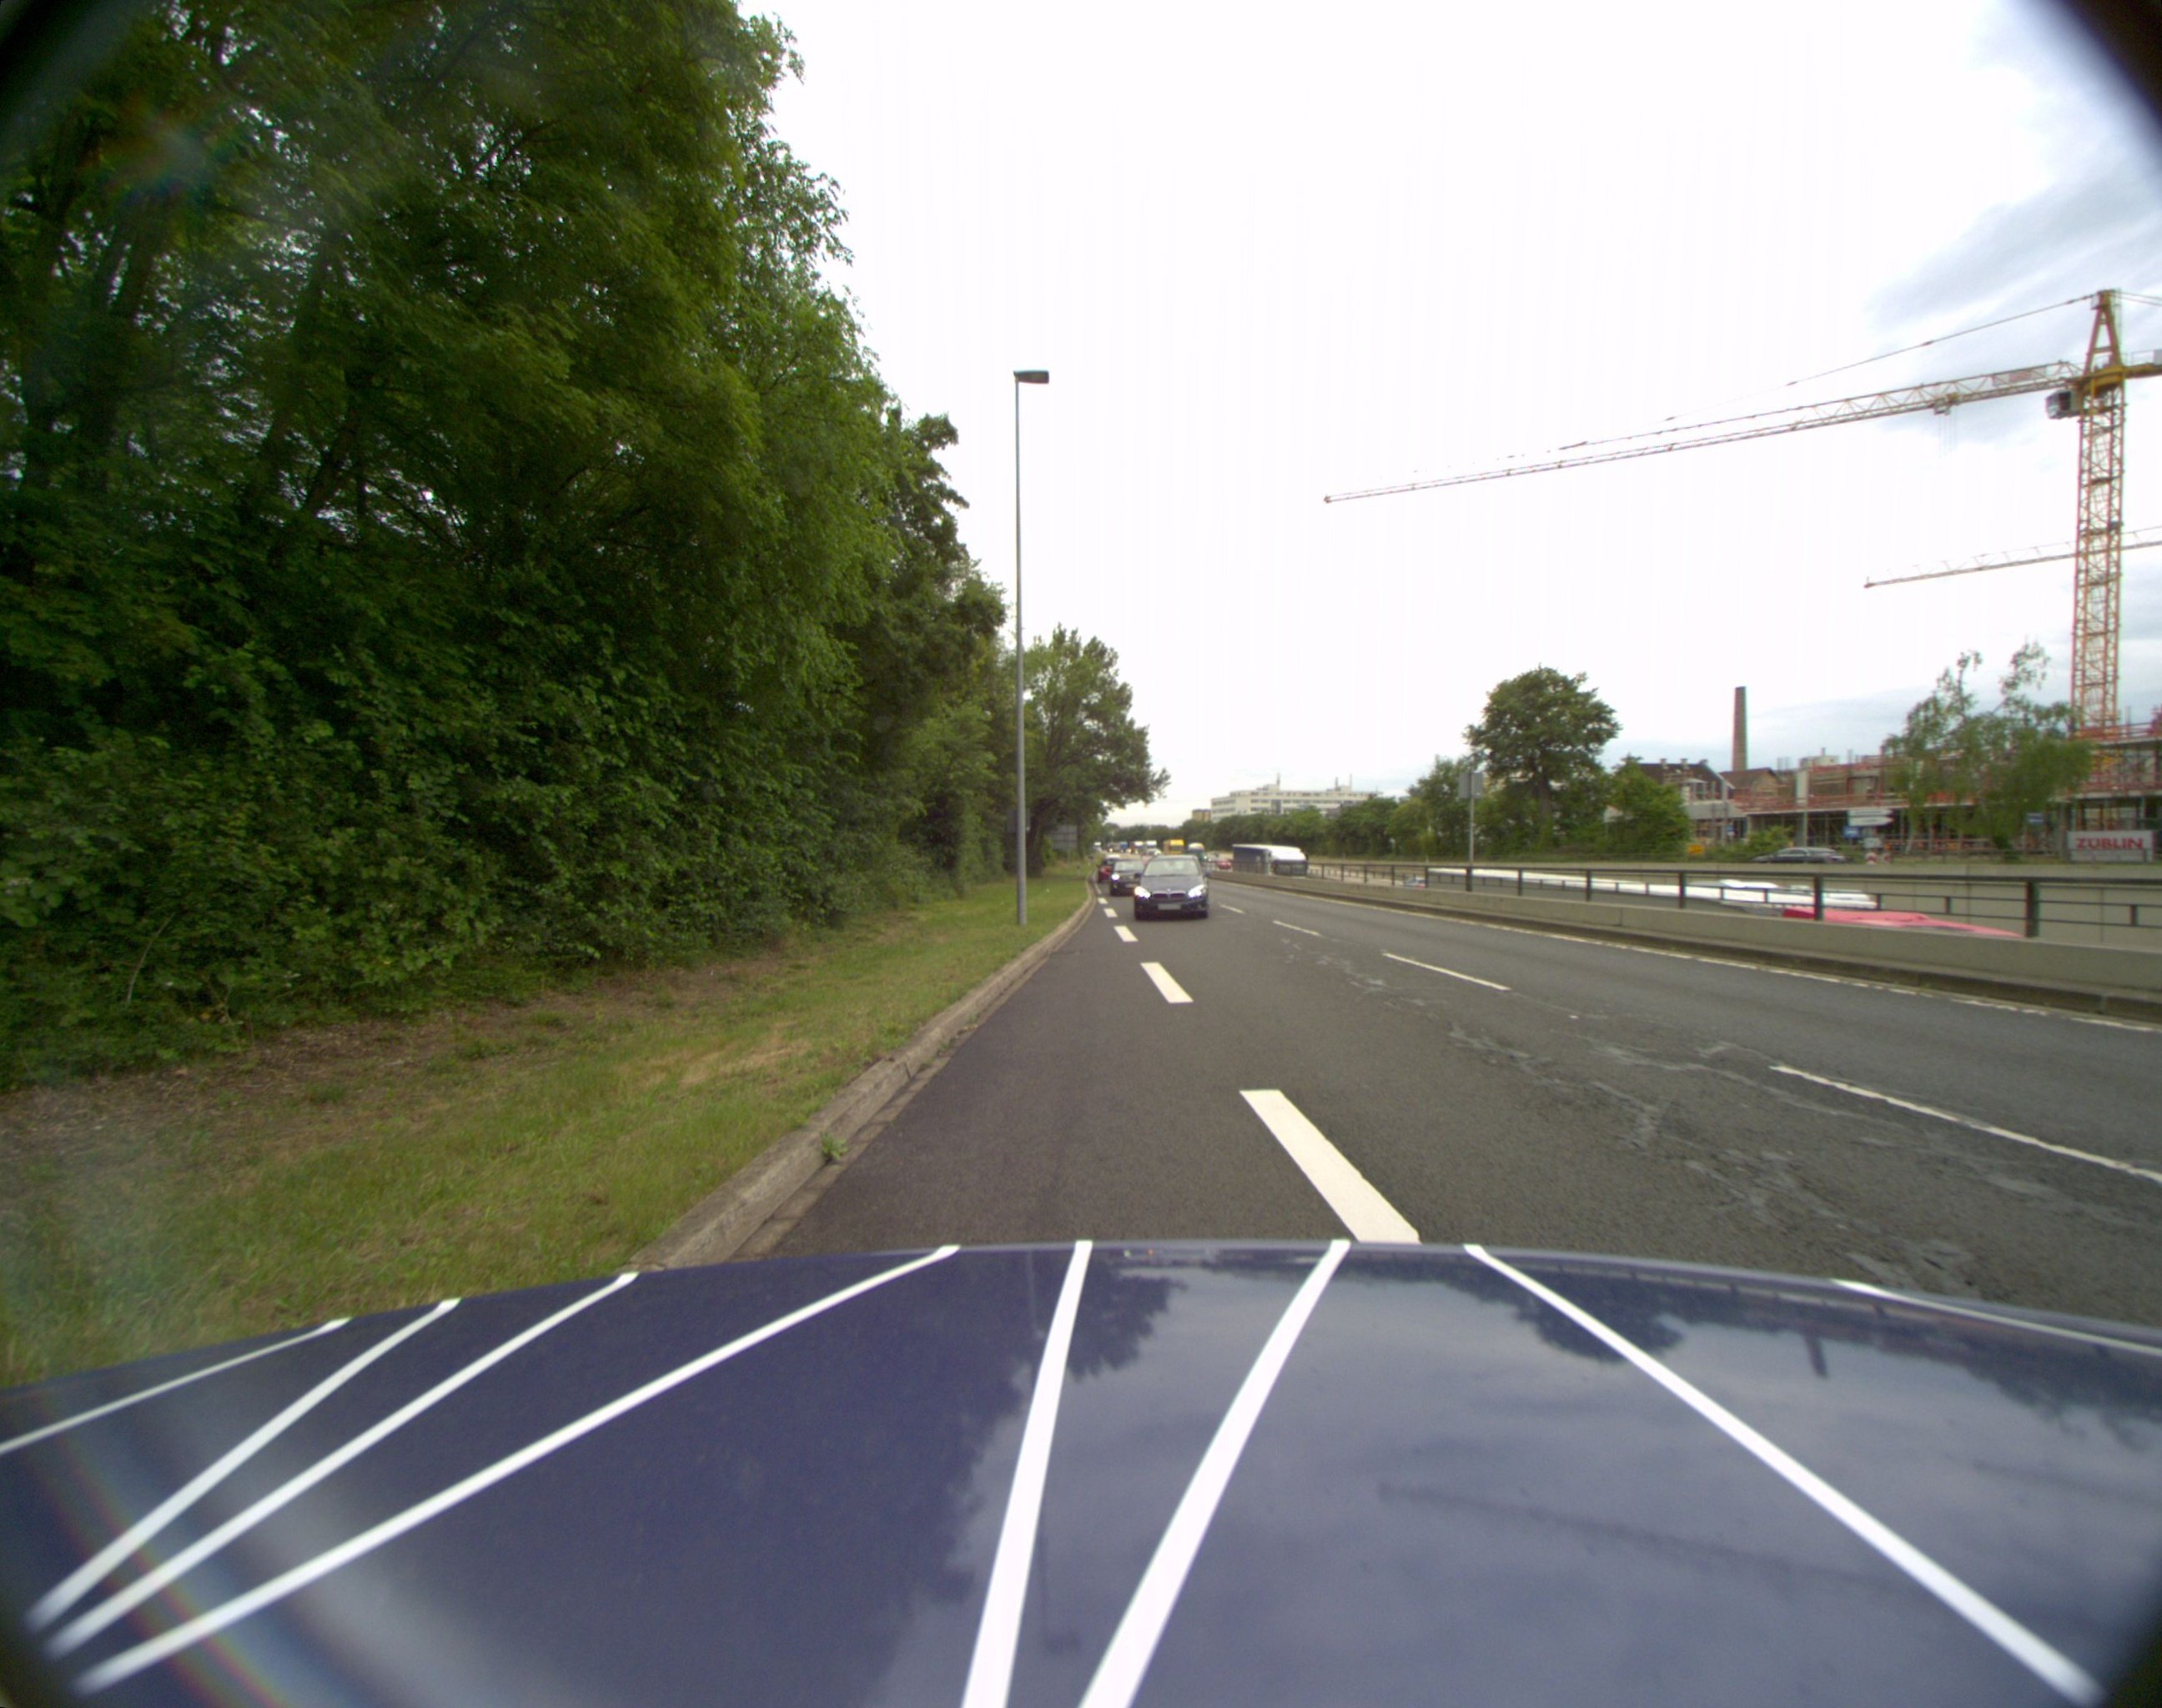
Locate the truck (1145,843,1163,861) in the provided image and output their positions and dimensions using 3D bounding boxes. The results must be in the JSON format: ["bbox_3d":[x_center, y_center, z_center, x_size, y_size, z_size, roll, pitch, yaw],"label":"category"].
[{"bbox_3d":[12.305,-0.427,128.817,2.524,2.961,13.780,0,1,4],"label":"truck"}]

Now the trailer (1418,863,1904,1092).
[{"bbox_3d":[14.381,2.461,21.903,2.658,4.013,14.550,0,1,-1],"label":"trailer"}]

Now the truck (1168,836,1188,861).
[{"bbox_3d":[17.636,-1.051,138.582,2.893,4.319,6.519,0,1,2],"label":"truck"}]

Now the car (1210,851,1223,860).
[{"bbox_3d":[22.988,0.194,129.215,1.627,1.433,4.000,-2,1,2],"label":"car"}]

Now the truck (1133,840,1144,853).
[{"bbox_3d":[18.945,-2.441,251.381,2.531,4.013,13.775,0,1,-1],"label":"truck"}]

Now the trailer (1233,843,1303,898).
[{"bbox_3d":[15.226,1.111,63.357,2.531,4.013,14.782,0,1,1],"label":"trailer"}]

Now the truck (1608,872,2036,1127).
[{"bbox_3d":[14.526,2.515,15.800,2.712,4.014,6.201,0,1,-1],"label":"truck"}]

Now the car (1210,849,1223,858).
[{"bbox_3d":[31.099,-0.181,174.360,1.998,2.002,5.486,-2,0,2],"label":"car"}]

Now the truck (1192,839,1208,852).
[{"bbox_3d":[36.277,-2.643,232.119,3.069,4.013,13.777,0,1,1],"label":"truck"}]

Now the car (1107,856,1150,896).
[{"bbox_3d":[1.926,0.880,31.819,1.627,1.433,4.000,-2,1,2],"label":"car"}]

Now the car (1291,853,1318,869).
[{"bbox_3d":[28.161,0.851,96.017,1.998,2.002,5.486,-2,0,3],"label":"car"}]

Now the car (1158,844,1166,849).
[{"bbox_3d":[24.290,-2.209,228.470,1.999,1.543,3.999,-2,1,-1],"label":"car"}]

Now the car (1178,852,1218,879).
[{"bbox_3d":[6.786,0.647,44.409,1.702,1.433,3.999,-2,1,0],"label":"car"}]

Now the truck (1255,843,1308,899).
[{"bbox_3d":[15.120,1.189,57.675,2.531,4.014,6.096,0,1,1],"label":"truck"}]

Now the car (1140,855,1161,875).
[{"bbox_3d":[7.346,1.115,80.395,1.868,1.947,4.000,-2,1,2],"label":"car"}]

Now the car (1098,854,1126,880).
[{"bbox_3d":[1.924,0.795,47.297,1.627,1.433,4.000,-2,1,2],"label":"car"}]

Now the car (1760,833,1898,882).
[{"bbox_3d":[40.834,0.175,41.712,2.341,2.446,5.226,-2,0,-1],"label":"car"}]

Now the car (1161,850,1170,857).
[{"bbox_3d":[18.577,-0.073,166.604,1.627,1.433,4.000,-2,1,2],"label":"car"}]

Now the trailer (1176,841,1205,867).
[{"bbox_3d":[16.381,-0.139,114.662,2.613,3.620,16.749,0,1,2],"label":"trailer"}]

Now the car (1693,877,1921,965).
[{"bbox_3d":[30.441,2.648,32.451,2.515,3.011,7.511,-2,0,0],"label":"car"}]

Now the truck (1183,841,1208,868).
[{"bbox_3d":[16.101,0.024,107.223,2.645,3.614,6.667,0,1,2],"label":"truck"}]

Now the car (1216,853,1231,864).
[{"bbox_3d":[20.650,0.596,110.153,1.627,1.433,4.000,-2,1,2],"label":"car"}]

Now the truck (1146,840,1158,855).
[{"bbox_3d":[19.667,-1.804,211.877,2.956,4.013,13.780,0,1,4],"label":"truck"}]

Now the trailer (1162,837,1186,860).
[{"bbox_3d":[17.938,-1.146,147.791,2.897,4.328,19.921,0,1,2],"label":"trailer"}]

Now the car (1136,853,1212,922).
[{"bbox_3d":[2.426,0.816,20.709,1.784,1.554,4.422,-2,1,4],"label":"car"}]

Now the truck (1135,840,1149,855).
[{"bbox_3d":[13.339,-1.485,167.583,2.956,3.167,13.780,0,1,4],"label":"truck"}]
